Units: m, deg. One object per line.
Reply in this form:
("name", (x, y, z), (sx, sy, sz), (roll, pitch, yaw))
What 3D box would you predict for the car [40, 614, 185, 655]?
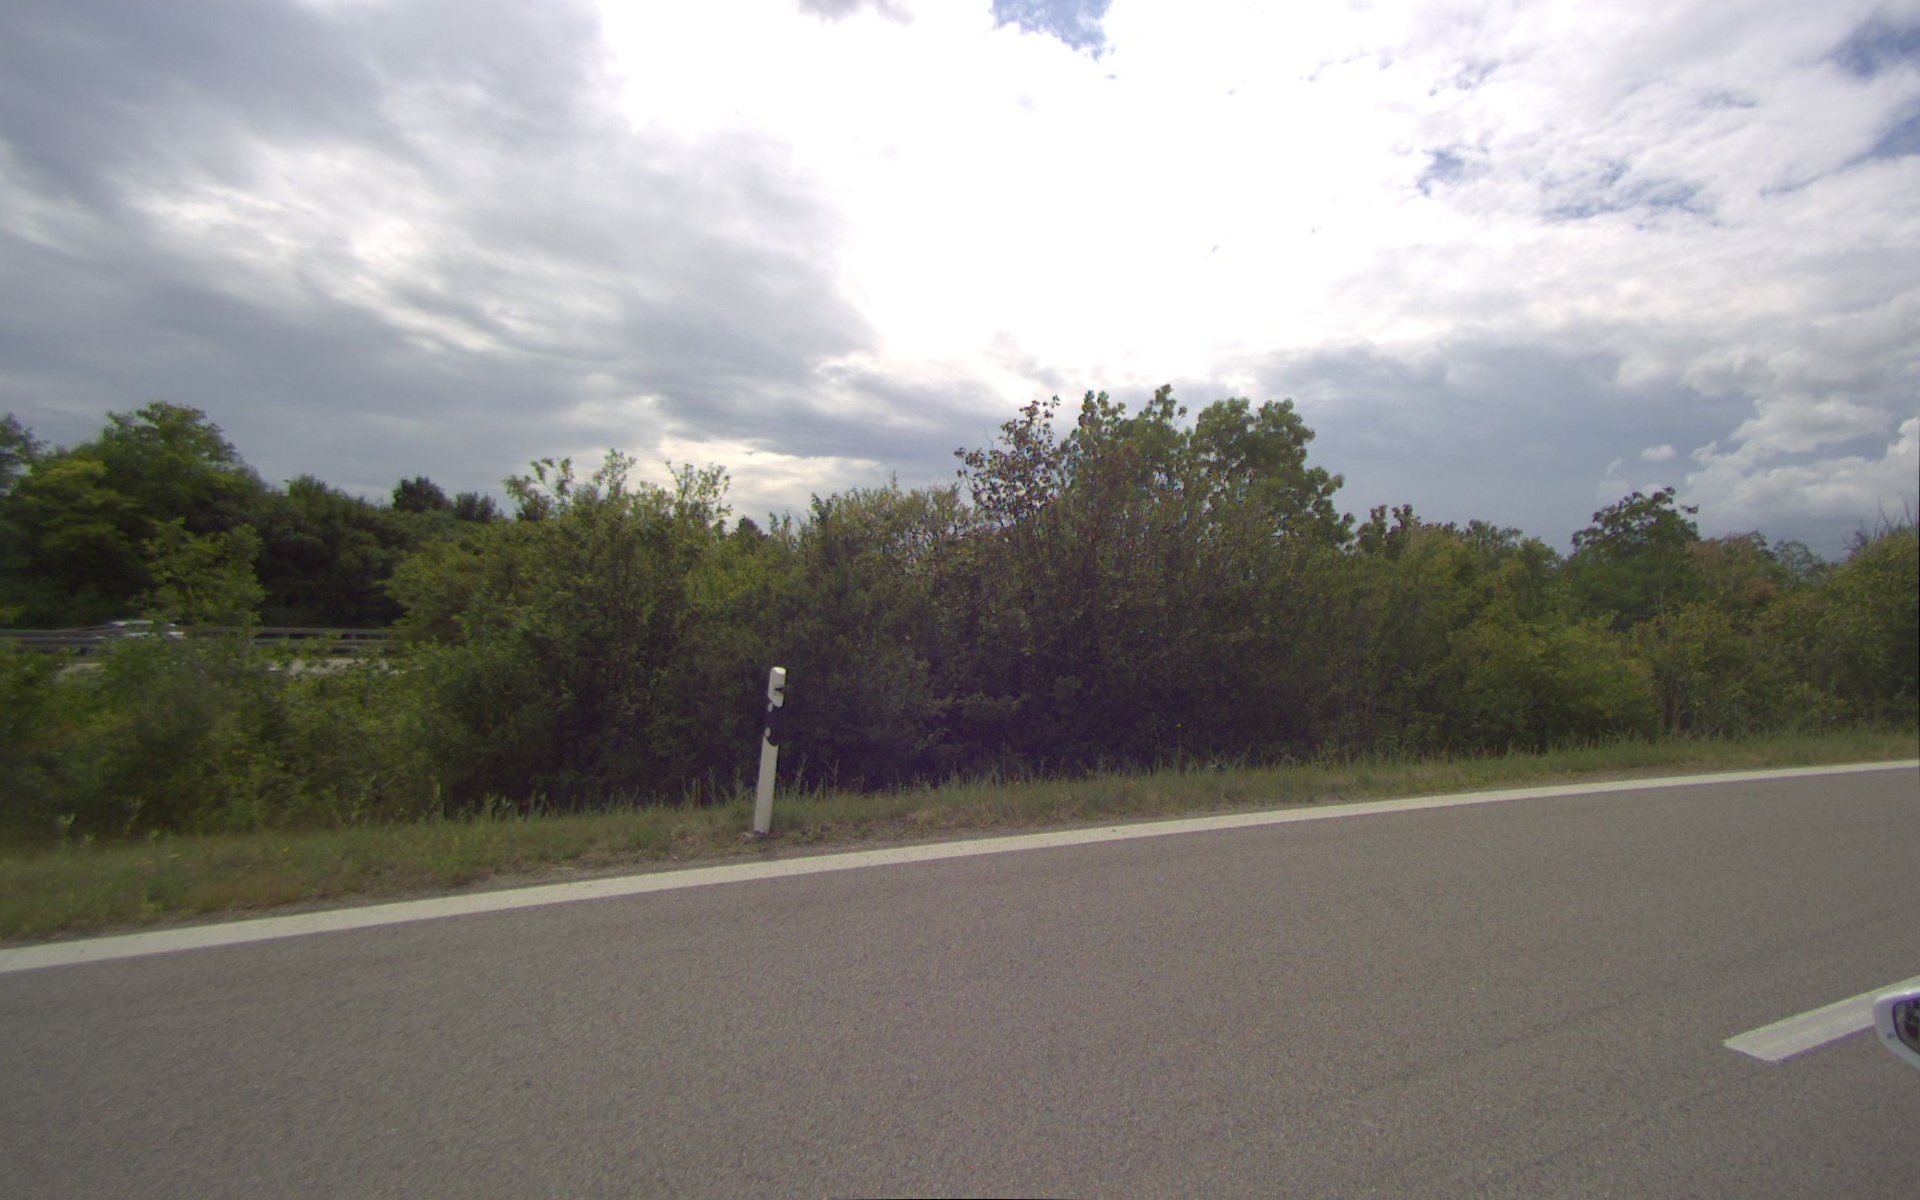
("car", (-33.710, 1.387, 40.061), (1.778, 1.505, 3.998), (1, -2, 24))
